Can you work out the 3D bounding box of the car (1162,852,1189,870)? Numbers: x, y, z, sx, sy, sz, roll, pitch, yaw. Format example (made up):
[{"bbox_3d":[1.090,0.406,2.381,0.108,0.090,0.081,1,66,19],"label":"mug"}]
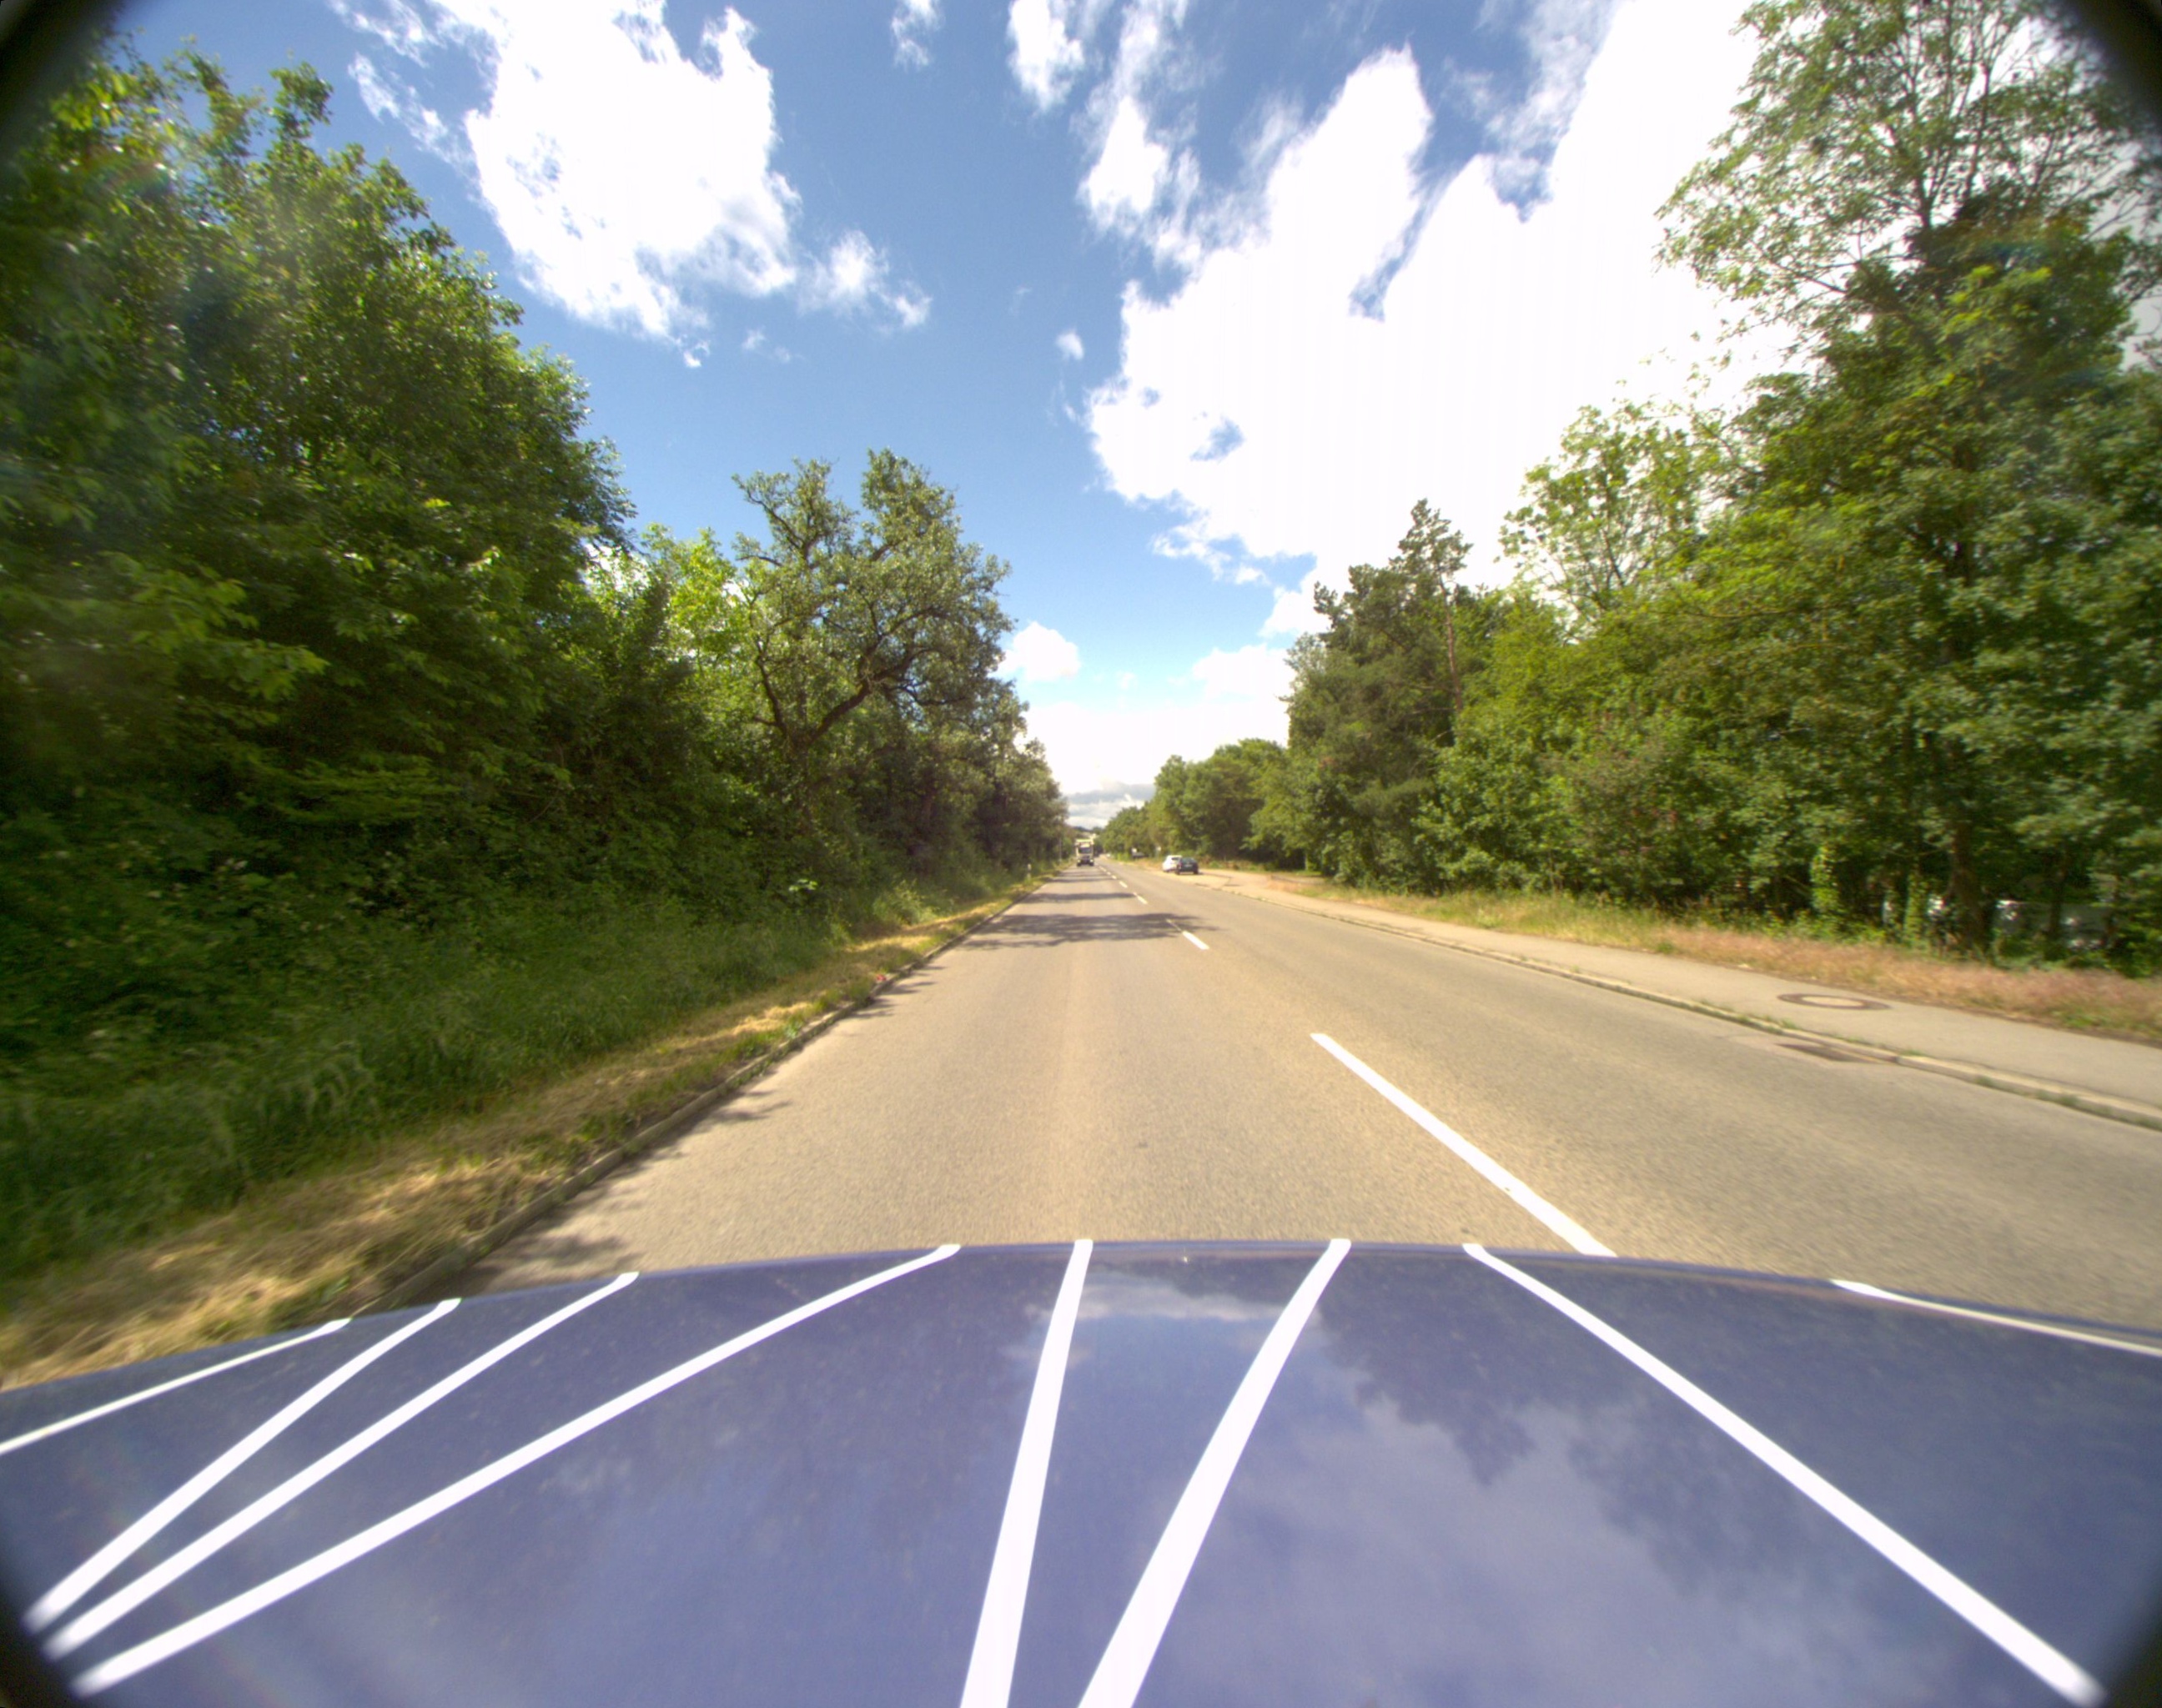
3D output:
[{"bbox_3d":[8.361,0.608,67.497,1.772,1.461,4.245,-2,0,-1],"label":"car"}]

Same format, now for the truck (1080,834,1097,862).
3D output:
[{"bbox_3d":[1.053,-0.868,109.070,2.306,3.790,8.182,-2,0,0],"label":"truck"}]

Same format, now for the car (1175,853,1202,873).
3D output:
[{"bbox_3d":[8.439,0.682,59.940,1.772,1.400,4.266,-2,0,4],"label":"car"}]
